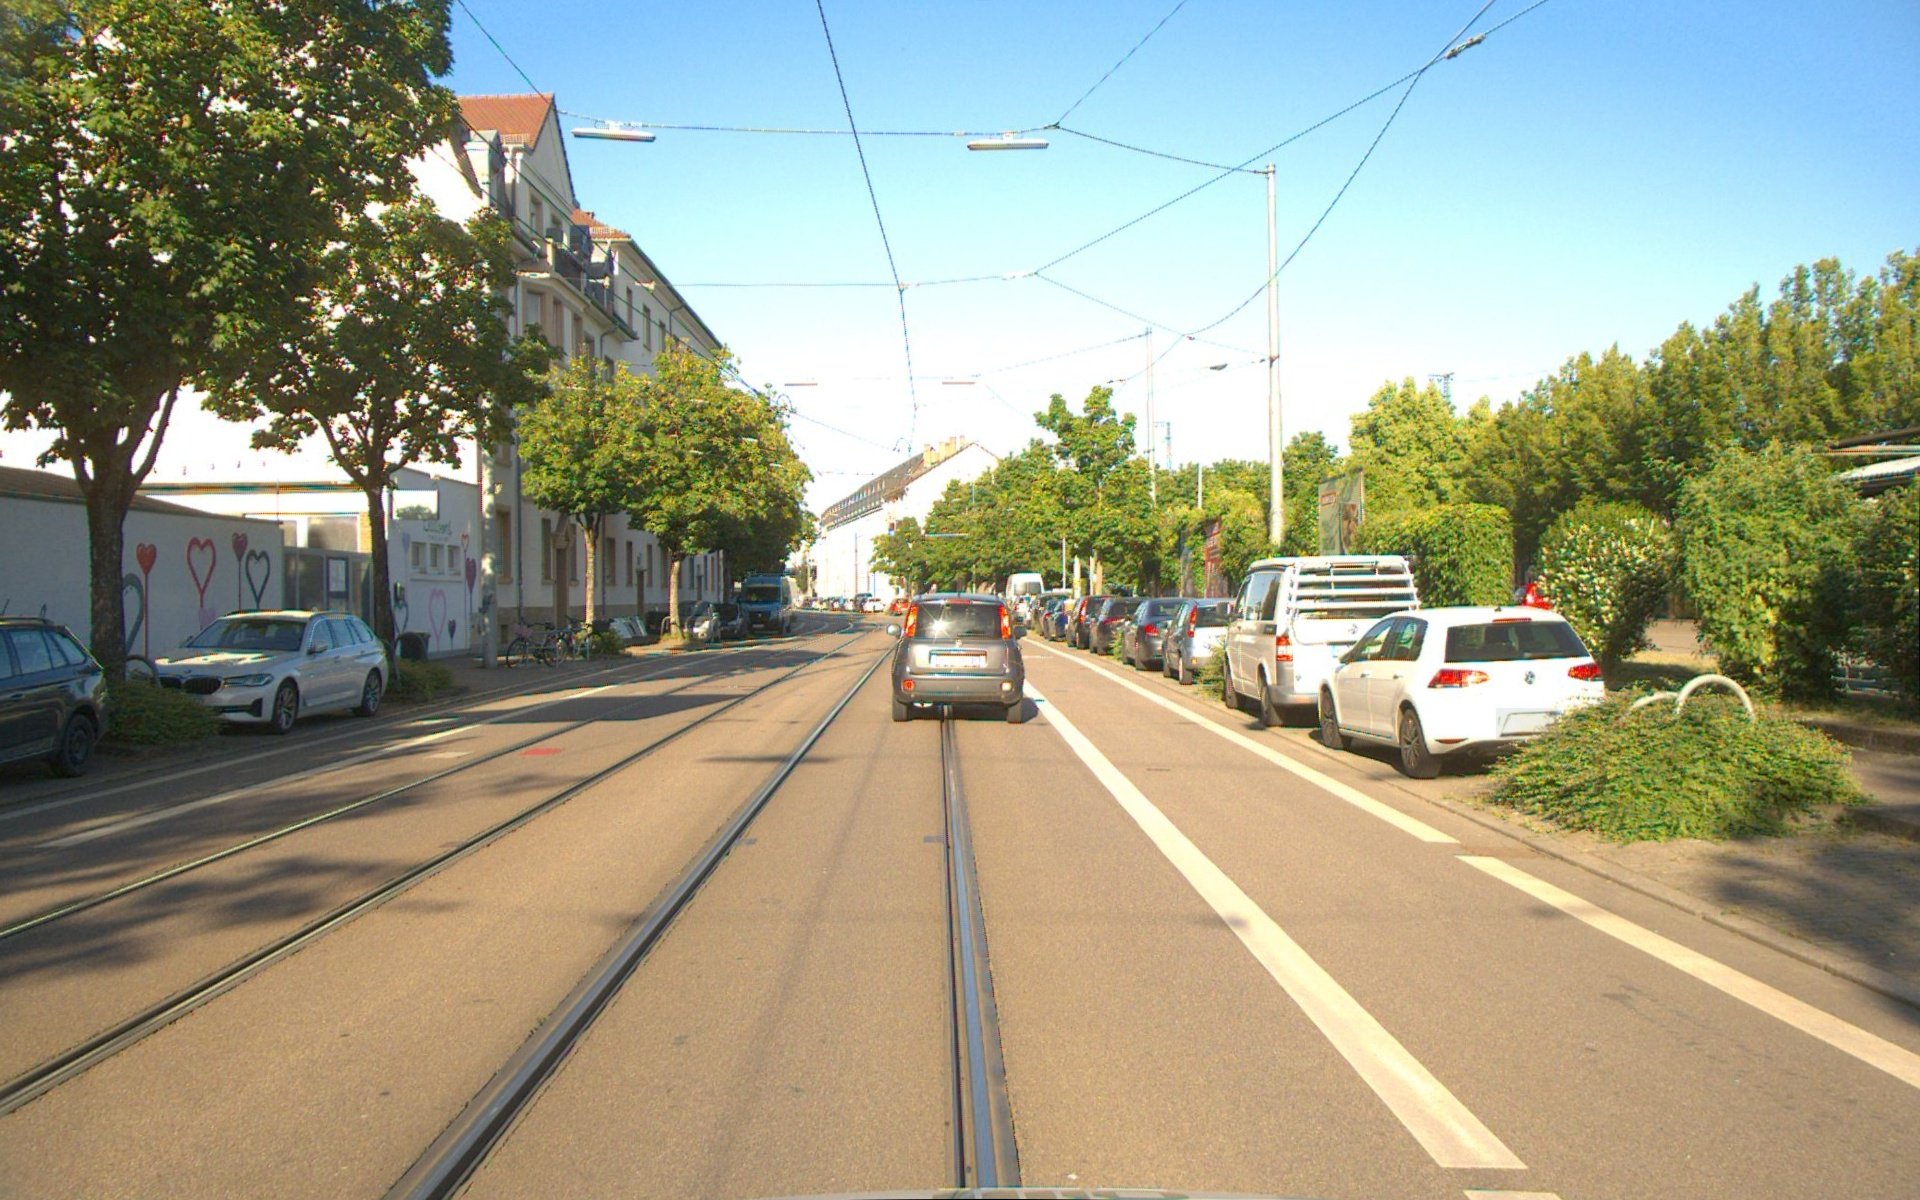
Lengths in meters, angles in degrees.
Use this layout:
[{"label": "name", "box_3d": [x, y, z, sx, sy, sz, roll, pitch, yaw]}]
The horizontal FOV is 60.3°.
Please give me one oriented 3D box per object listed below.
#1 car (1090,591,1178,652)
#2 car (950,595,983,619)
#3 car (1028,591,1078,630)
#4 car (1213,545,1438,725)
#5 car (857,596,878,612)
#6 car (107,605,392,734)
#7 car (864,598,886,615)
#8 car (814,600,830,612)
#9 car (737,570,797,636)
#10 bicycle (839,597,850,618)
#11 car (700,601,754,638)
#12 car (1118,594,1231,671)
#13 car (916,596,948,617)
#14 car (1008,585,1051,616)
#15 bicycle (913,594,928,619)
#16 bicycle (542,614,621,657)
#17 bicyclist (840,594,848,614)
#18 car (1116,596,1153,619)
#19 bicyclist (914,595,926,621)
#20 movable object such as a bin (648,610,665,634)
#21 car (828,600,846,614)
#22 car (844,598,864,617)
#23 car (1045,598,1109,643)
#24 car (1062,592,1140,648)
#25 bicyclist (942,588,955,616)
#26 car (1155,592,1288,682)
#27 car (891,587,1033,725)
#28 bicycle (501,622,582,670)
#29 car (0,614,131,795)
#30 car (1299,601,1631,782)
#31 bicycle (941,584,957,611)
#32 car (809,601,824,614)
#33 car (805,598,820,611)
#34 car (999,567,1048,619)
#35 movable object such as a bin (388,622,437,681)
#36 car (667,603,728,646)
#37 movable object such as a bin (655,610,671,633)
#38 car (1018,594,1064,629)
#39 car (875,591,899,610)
[{"label": "car", "box_3d": [4.476, 0.546, 43.170, 1.787, 1.477, 4.641, -1, 0, 0]}, {"label": "car", "box_3d": [0.425, 0.470, 112.252, 1.657, 1.556, 3.993, -2, 0, -8]}, {"label": "car", "box_3d": [4.026, 0.443, 72.514, 1.693, 1.632, 4.339, 0, 0, -3]}, {"label": "car", "box_3d": [4.571, 0.408, 21.503, 1.816, 2.026, 5.242, -1, 0, 1]}, {"label": "car", "box_3d": [-9.296, 0.377, 166.036, 1.626, 1.599, 3.865, 1, 0, -11]}, {"label": "car", "box_3d": [-9.203, 0.832, 21.898, 1.827, 1.516, 4.660, 0, 0, -1]}, {"label": "car", "box_3d": [-8.328, 0.629, 161.752, 1.626, 1.599, 3.489, 1, 0, -11]}, {"label": "car", "box_3d": [-16.948, 0.689, 203.518, 1.555, 1.430, 3.367, 1, 0, -12]}, {"label": "car", "box_3d": [-8.734, 0.160, 75.308, 1.976, 2.875, 6.032, 0, 0, 0]}, {"label": "bicycle", "box_3d": [-11.703, 0.778, 167.140, 0.728, 2.049, 2.803, 1, 0, -11]}, {"label": "car", "box_3d": [-9.474, 0.773, 67.419, 1.617, 1.450, 4.189, 0, 0, 0]}, {"label": "car", "box_3d": [4.428, 0.647, 34.815, 1.787, 1.510, 4.601, 0, 0, 0]}, {"label": "car", "box_3d": [-2.225, 0.519, 128.501, 1.660, 1.556, 3.986, -2, 0, -13]}, {"label": "car", "box_3d": [3.611, 0.033, 86.639, 1.872, 1.556, 4.599, -1, 0, -2]}, {"label": "bicycle", "box_3d": [-2.782, 0.451, 115.346, 0.663, 1.777, 2.151, 1, 0, -11]}, {"label": "bicycle", "box_3d": [-9.438, 0.875, 41.268, 0.523, 1.058, 1.974, 0, -1, 43]}, {"label": "bicyclist", "box_3d": [-11.704, 0.391, 167.151, 0.702, 2.049, 0.829, 1, -1, -12]}, {"label": "car", "box_3d": [8.085, 0.359, 76.653, 1.282, 1.051, 3.055, 0, 0, -2]}, {"label": "bicyclist", "box_3d": [-2.809, 0.539, 115.374, 0.687, 1.790, 0.755, 1, -1, -12]}, {"label": "movable object such as a bin", "box_3d": [-12.184, 0.875, 66.349, 0.584, 0.951, 0.568, -1, 0, -4]}, {"label": "car", "box_3d": [-14.174, 0.809, 189.866, 1.555, 1.429, 3.367, -4, 1, -12]}, {"label": "car", "box_3d": [-11.300, 0.771, 176.068, 1.626, 1.978, 4.651, 1, 0, -11]}, {"label": "car", "box_3d": [4.068, 0.703, 58.193, 1.693, 1.490, 4.338, 0, 0, -3]}, {"label": "car", "box_3d": [4.169, 0.593, 49.320, 1.788, 1.519, 3.812, -3, 0, -3]}, {"label": "bicyclist", "box_3d": [-0.730, 0.117, 106.946, 0.687, 1.790, 0.755, 1, -1, -12]}, {"label": "car", "box_3d": [4.650, 0.639, 29.895, 1.834, 1.498, 4.075, 0, 0, 1]}, {"label": "car", "box_3d": [-0.012, 0.647, 21.154, 1.616, 1.568, 4.233, 1, 0, -1]}, {"label": "bicycle", "box_3d": [-9.506, 1.035, 37.622, 0.656, 1.058, 1.779, 0, 0, 36]}, {"label": "car", "box_3d": [-9.004, 0.889, 14.208, 1.737, 1.512, 4.303, 0, 0, -3]}, {"label": "car", "box_3d": [4.698, 0.773, 16.121, 1.642, 1.442, 4.500, -2, 0, -3]}, {"label": "bicycle", "box_3d": [-0.727, -0.160, 106.964, 0.663, 1.777, 2.151, 1, 0, -11]}, {"label": "car", "box_3d": [-18.160, 0.908, 209.660, 1.555, 1.627, 3.367, 1, 0, -12]}, {"label": "car", "box_3d": [-19.266, 0.591, 216.172, 1.555, 1.627, 3.367, 1, 0, -12]}, {"label": "car", "box_3d": [3.538, -0.380, 93.265, 2.136, 2.712, 6.088, -3, 0, -2]}, {"label": "movable object such as a bin", "box_3d": [-9.648, 0.897, 29.162, 0.570, 0.976, 0.702, 5, -1, -1]}, {"label": "car", "box_3d": [-9.660, 0.878, 61.096, 1.617, 1.517, 3.999, 0, 0, 0]}, {"label": "movable object such as a bin", "box_3d": [-12.224, 0.883, 68.144, 0.584, 0.951, 0.568, -1, 0, -4]}, {"label": "car", "box_3d": [3.747, 0.533, 77.291, 1.693, 1.539, 4.248, 0, 0, -4]}, {"label": "car", "box_3d": [-6.326, 0.041, 143.280, 1.606, 1.534, 3.388, -3, 0, -10]}]
